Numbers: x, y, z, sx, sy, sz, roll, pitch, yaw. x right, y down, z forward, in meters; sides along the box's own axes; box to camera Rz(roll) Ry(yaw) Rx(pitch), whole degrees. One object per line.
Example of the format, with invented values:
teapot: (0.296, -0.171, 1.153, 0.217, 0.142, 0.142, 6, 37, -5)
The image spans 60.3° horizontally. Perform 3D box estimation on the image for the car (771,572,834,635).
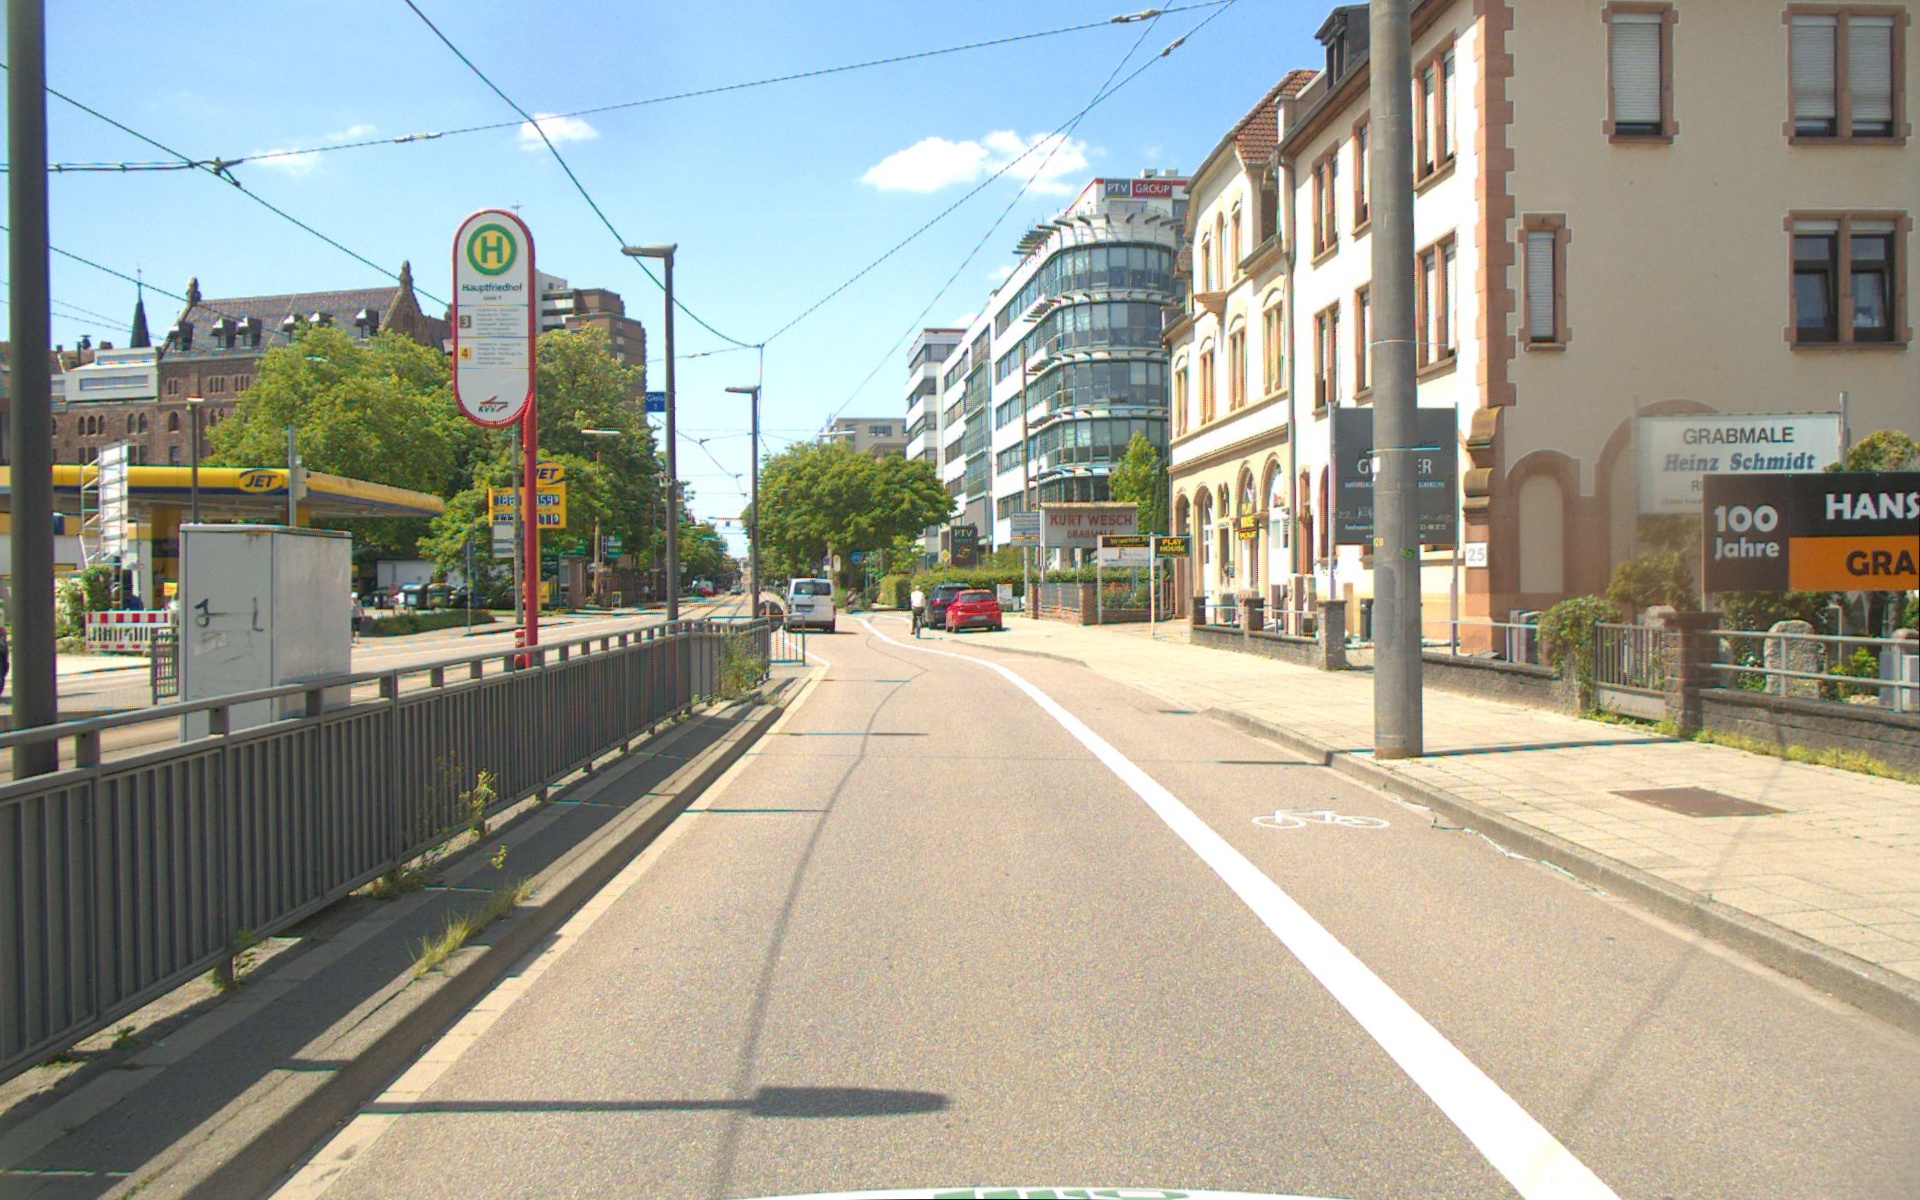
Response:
car: (-5.531, 0.093, 57.829, 1.721, 2.048, 3.989, -2, 2, -12)

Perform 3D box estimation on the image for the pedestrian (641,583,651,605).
pedestrian: (-29.162, -0.540, 153.613, 0.848, 2.049, 0.645, -2, 0, -10)

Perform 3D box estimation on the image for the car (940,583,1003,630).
car: (0.363, 0.202, 58.310, 1.679, 1.478, 4.066, -3, 1, -7)

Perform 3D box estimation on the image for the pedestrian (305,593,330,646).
pedestrian: (-20.589, 0.626, 53.000, 0.541, 1.687, 0.672, 0, 0, 0)

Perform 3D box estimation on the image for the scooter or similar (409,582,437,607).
scooter or similar: (-31.641, -0.327, 97.493, 1.286, 1.492, 1.059, -1, 0, 4)

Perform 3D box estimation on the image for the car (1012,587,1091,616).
car: (4.583, 0.059, 82.842, 3.727, 1.297, 1.553, -2, 1, -7)

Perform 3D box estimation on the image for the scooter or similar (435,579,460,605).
scooter or similar: (-30.110, -0.458, 97.201, 1.149, 1.492, 1.058, -1, 0, -2)

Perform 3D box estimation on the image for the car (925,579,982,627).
car: (-0.286, 0.070, 64.432, 1.826, 1.716, 4.996, -2, 1, -5)

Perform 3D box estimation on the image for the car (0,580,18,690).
car: (-15.308, 0.572, 23.432, 1.800, 1.656, 3.771, -3, 0, -2)

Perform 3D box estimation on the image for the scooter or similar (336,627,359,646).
scooter or similar: (-19.892, 1.182, 53.741, 0.466, 0.591, 0.631, 0, 0, 3)

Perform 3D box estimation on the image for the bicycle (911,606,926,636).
bicycle: (-1.317, 0.658, 52.367, 0.456, 0.903, 2.047, 0, 1, -2)

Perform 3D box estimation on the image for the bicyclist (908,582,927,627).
bicyclist: (-1.348, 0.134, 52.342, 0.579, 1.421, 0.841, 0, 1, -3)

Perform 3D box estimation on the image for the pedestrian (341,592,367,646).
pedestrian: (-19.417, 0.597, 53.010, 0.568, 1.700, 0.667, 0, 0, 1)
